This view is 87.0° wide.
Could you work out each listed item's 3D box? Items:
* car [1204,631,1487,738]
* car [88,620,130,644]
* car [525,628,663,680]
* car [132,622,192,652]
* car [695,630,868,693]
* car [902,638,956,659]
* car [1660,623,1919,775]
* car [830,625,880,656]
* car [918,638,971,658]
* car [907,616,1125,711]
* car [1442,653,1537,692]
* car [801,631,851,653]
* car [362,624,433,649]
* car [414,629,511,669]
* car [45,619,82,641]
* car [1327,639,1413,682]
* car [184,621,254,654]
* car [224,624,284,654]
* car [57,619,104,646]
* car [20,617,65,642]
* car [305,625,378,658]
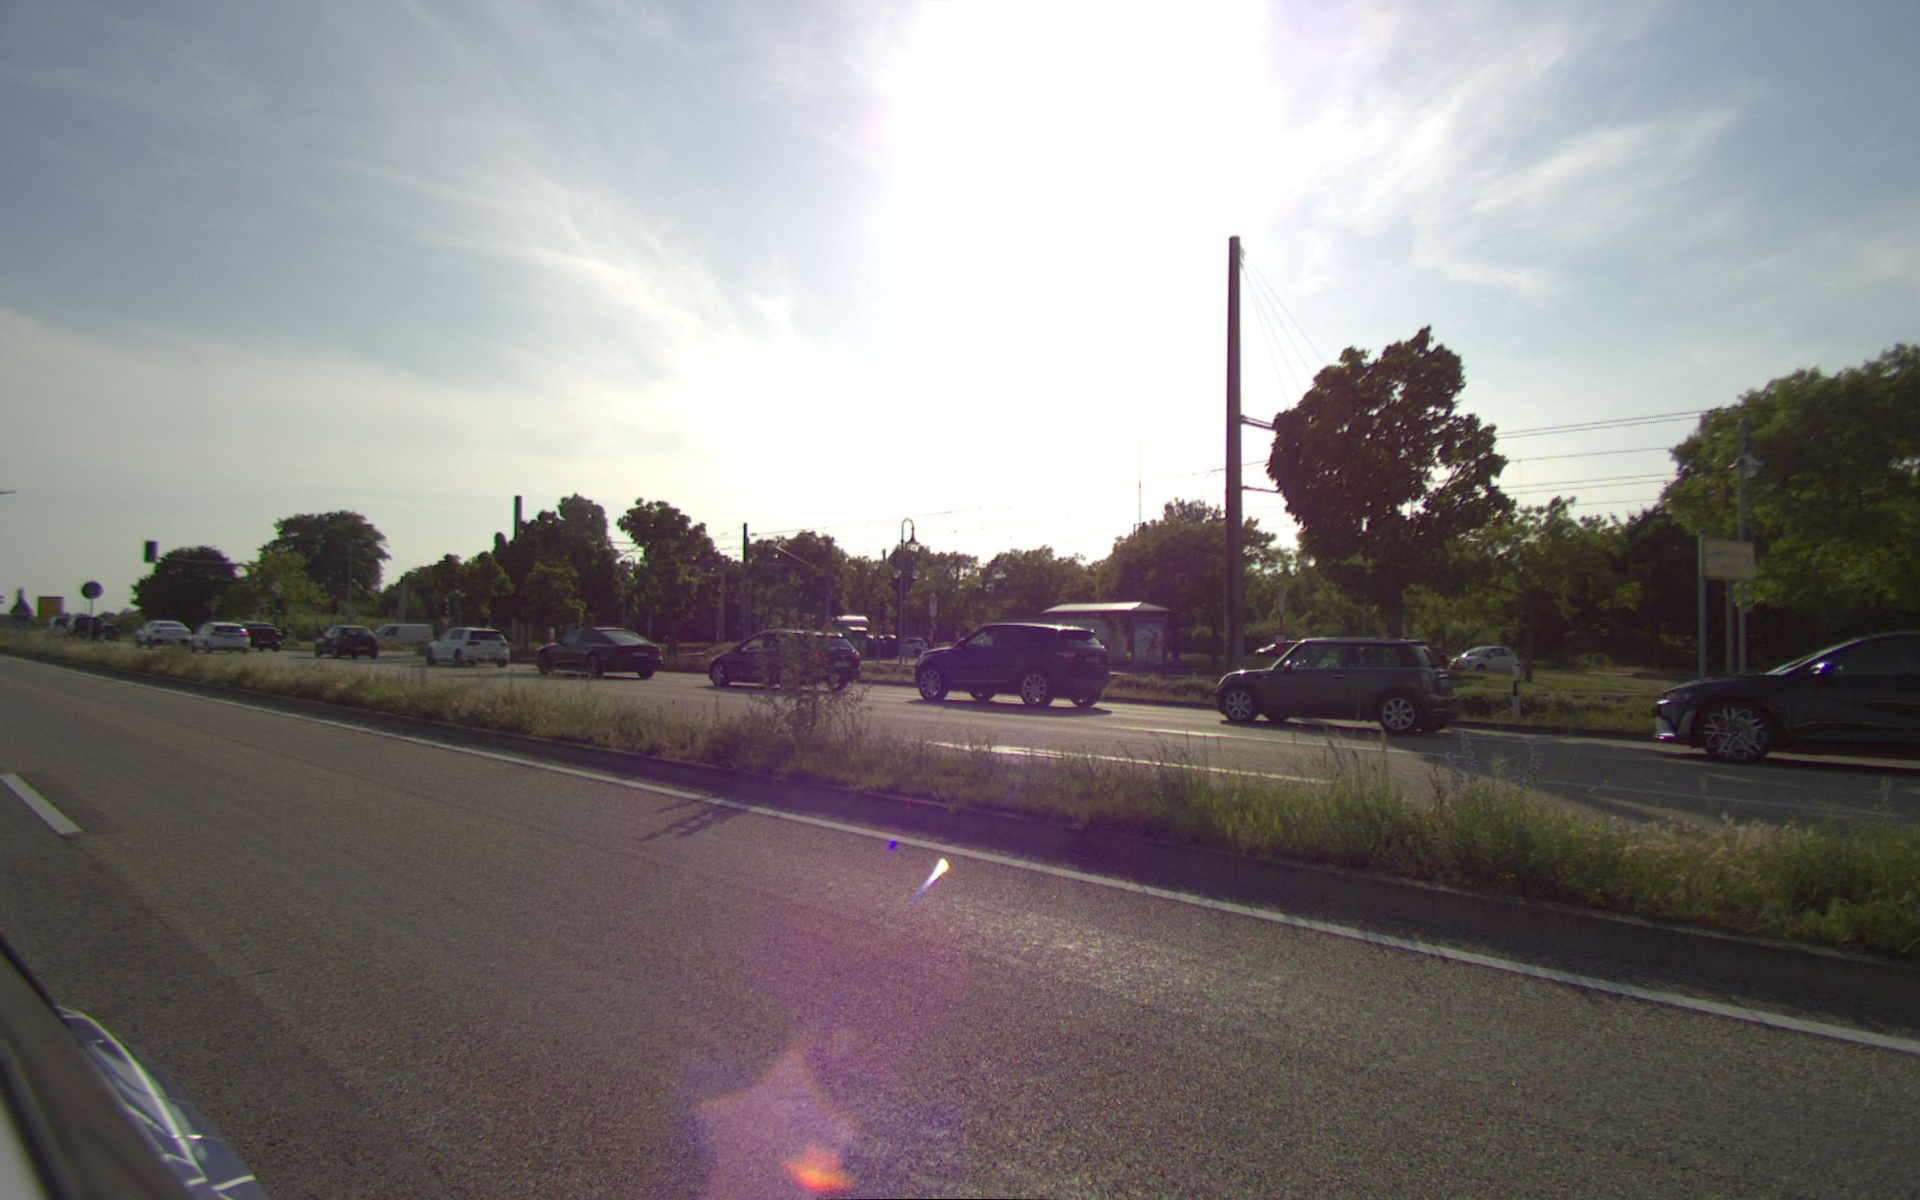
[{"bbox_3d":[5.922,1.241,15.789,3.803,1.442,1.643,-1,-4,41],"label":"car"},{"bbox_3d":[-72.867,2.720,86.606,5.077,1.988,1.972,-1,-4,42],"label":"car"},{"bbox_3d":[-10.944,1.572,30.087,4.973,1.426,1.643,-1,-4,41],"label":"car"},{"bbox_3d":[-43.160,1.990,54.694,4.582,1.519,1.733,-1,-4,42],"label":"car"},{"bbox_3d":[-4.404,1.449,24.565,4.539,1.391,1.643,-1,-4,41],"label":"car"},{"bbox_3d":[-2.492,3.840,80.734,3.959,1.549,1.992,-1,0,12],"label":"car"},{"bbox_3d":[10.516,1.063,11.063,4.544,1.574,1.643,-1,-4,41],"label":"car"},{"bbox_3d":[-6.960,2.679,67.528,1.822,1.892,3.647,-1,0,23],"label":"car"},{"bbox_3d":[-1.264,3.929,83.581,3.959,1.549,1.992,-1,0,12],"label":"car"},{"bbox_3d":[1.032,1.221,20.204,4.227,1.700,1.643,-1,-4,41],"label":"car"},{"bbox_3d":[26.592,3.613,50.879,3.931,1.674,2.006,-1,0,-18],"label":"car"},{"bbox_3d":[-9.408,2.941,71.357,1.820,1.431,3.974,-1,0,20],"label":"car"},{"bbox_3d":[-47.730,3.057,85.904,2.250,1.901,4.786,-1,0,36],"label":"car"},{"bbox_3d":[-18.691,1.814,37.912,4.466,1.391,1.643,-1,-4,41],"label":"car"},{"bbox_3d":[-85.685,2.896,96.710,5.077,1.988,1.972,-1,-4,42],"label":"car"},{"bbox_3d":[18.556,2.701,45.716,3.937,1.674,2.003,-1,0,-40],"label":"car"},{"bbox_3d":[-35.575,1.792,48.548,4.293,1.481,1.799,-1,-4,42],"label":"car"},{"bbox_3d":[-39.589,2.181,56.730,3.998,1.602,1.778,-1,-4,41],"label":"car"},{"bbox_3d":[-60.835,2.245,69.978,4.528,1.759,1.838,-1,-4,42],"label":"car"},{"bbox_3d":[-70.139,2.257,77.331,5.077,1.843,1.972,-1,-4,42],"label":"car"},{"bbox_3d":[-27.769,1.859,45.407,3.998,1.391,1.643,-1,-4,41],"label":"car"}]
